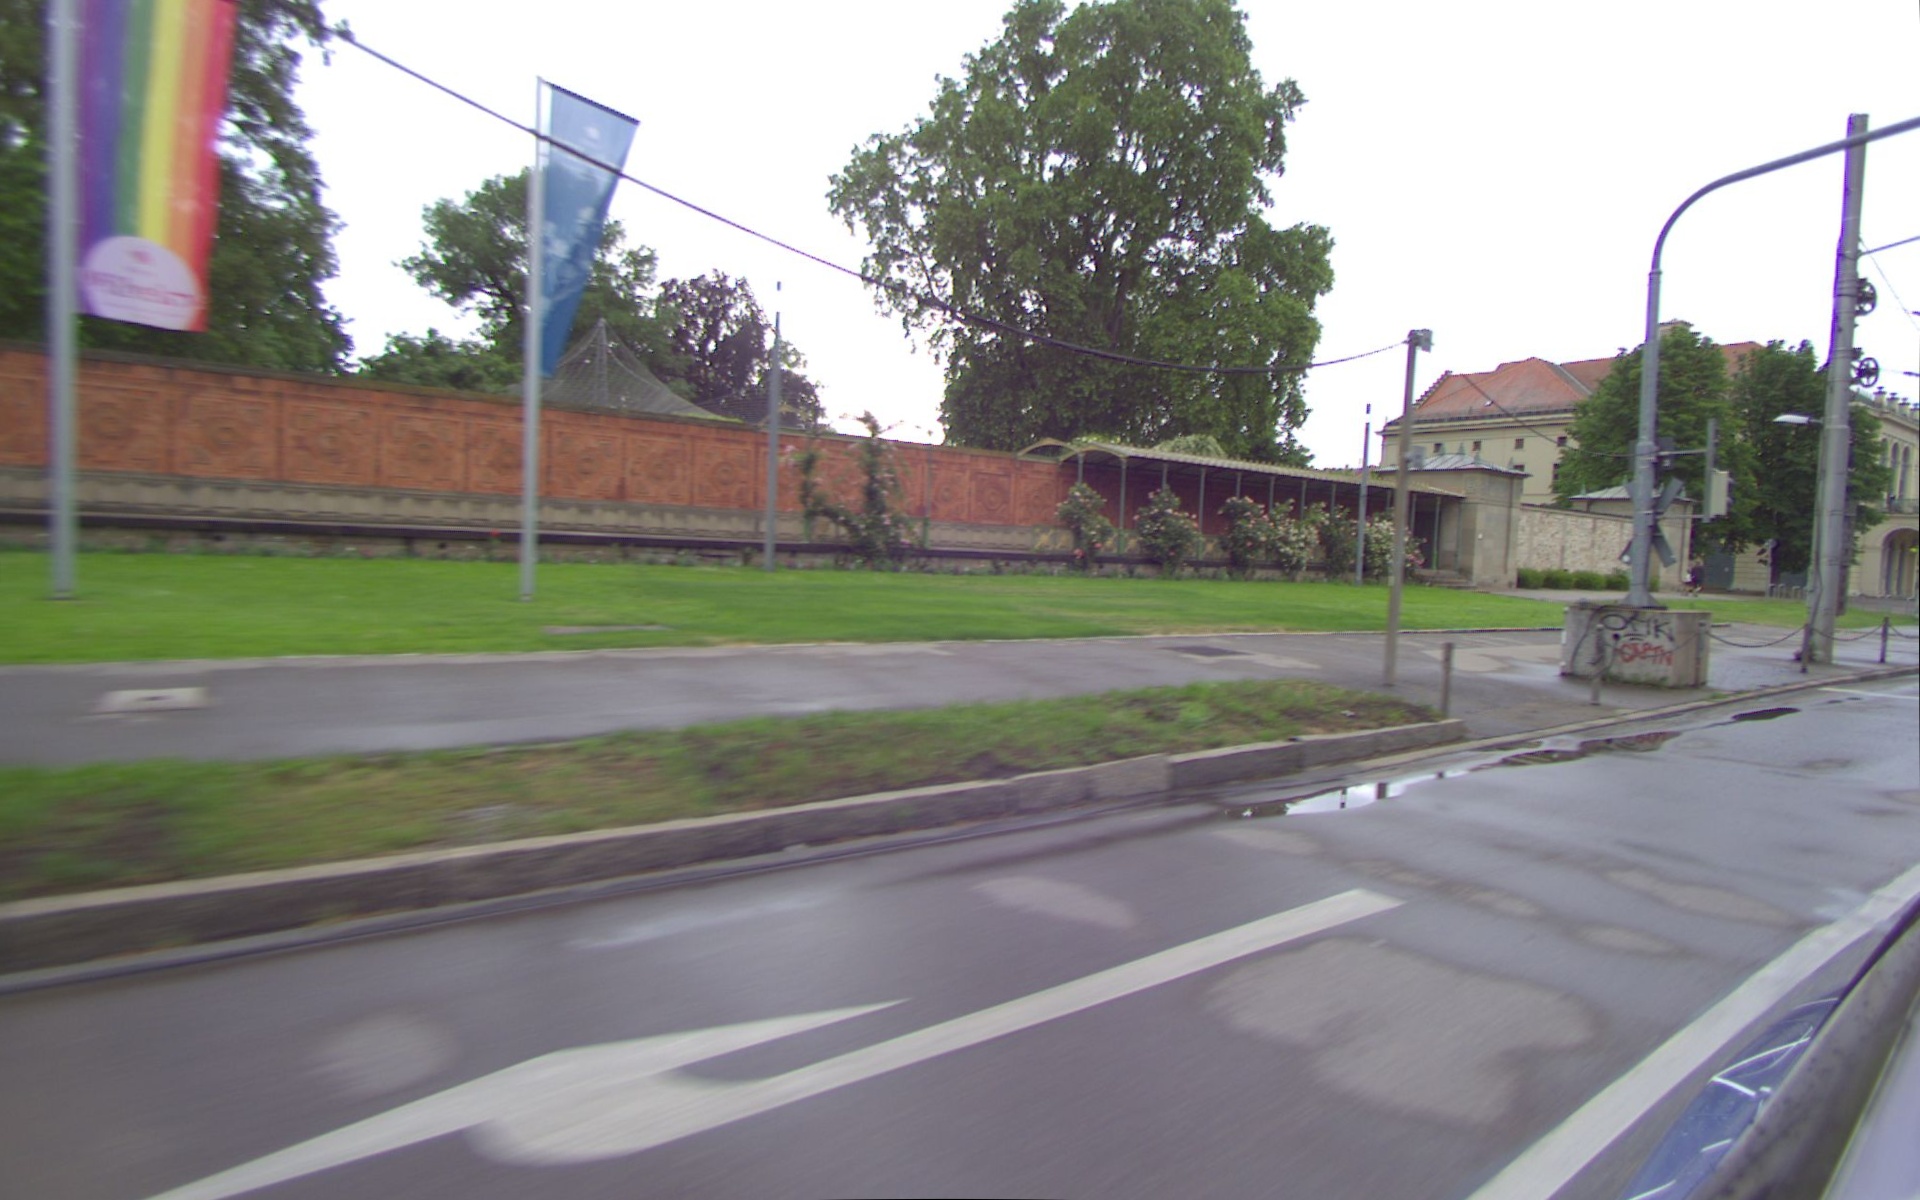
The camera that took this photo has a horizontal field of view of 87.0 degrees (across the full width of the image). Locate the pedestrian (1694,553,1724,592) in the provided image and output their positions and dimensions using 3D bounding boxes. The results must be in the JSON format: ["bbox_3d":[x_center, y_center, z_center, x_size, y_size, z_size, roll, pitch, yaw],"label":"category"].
[{"bbox_3d":[34.482,-1.254,46.618,0.963,1.731,0.731,0,4,-35],"label":"pedestrian"}]

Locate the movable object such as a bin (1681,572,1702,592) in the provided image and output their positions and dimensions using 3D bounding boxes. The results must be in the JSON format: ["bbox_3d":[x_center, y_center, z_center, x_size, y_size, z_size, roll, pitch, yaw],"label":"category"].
[{"bbox_3d":[34.044,-0.835,47.091,1.169,0.882,0.343,0,4,-35],"label":"movable object such as a bin"}]
